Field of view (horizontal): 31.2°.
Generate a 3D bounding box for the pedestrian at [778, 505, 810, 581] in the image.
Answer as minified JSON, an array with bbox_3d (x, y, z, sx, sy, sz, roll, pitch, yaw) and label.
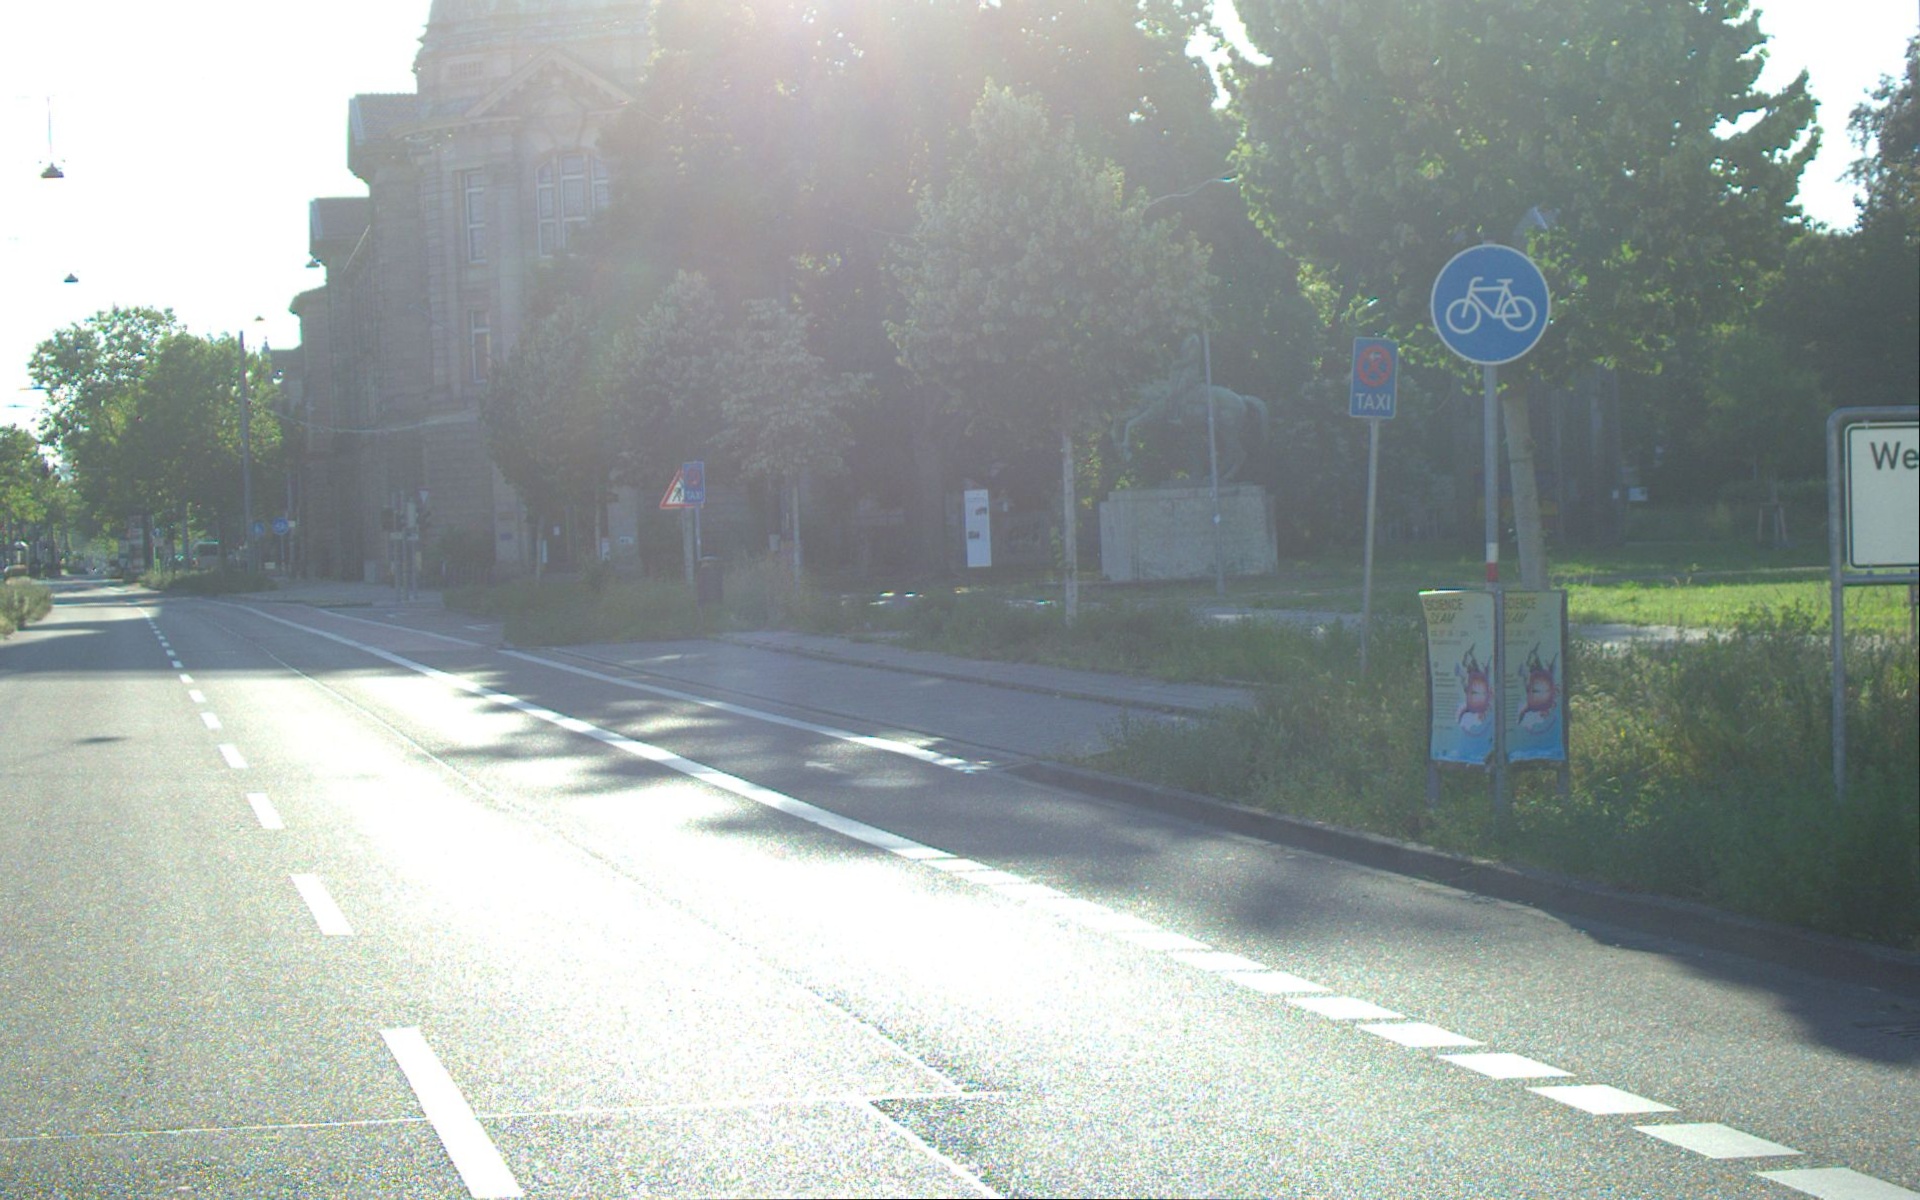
[{"bbox_3d":[-4.048,-1.387,83.875,0.683,1.816,0.535,-2,1,-8],"label":"pedestrian"}]
